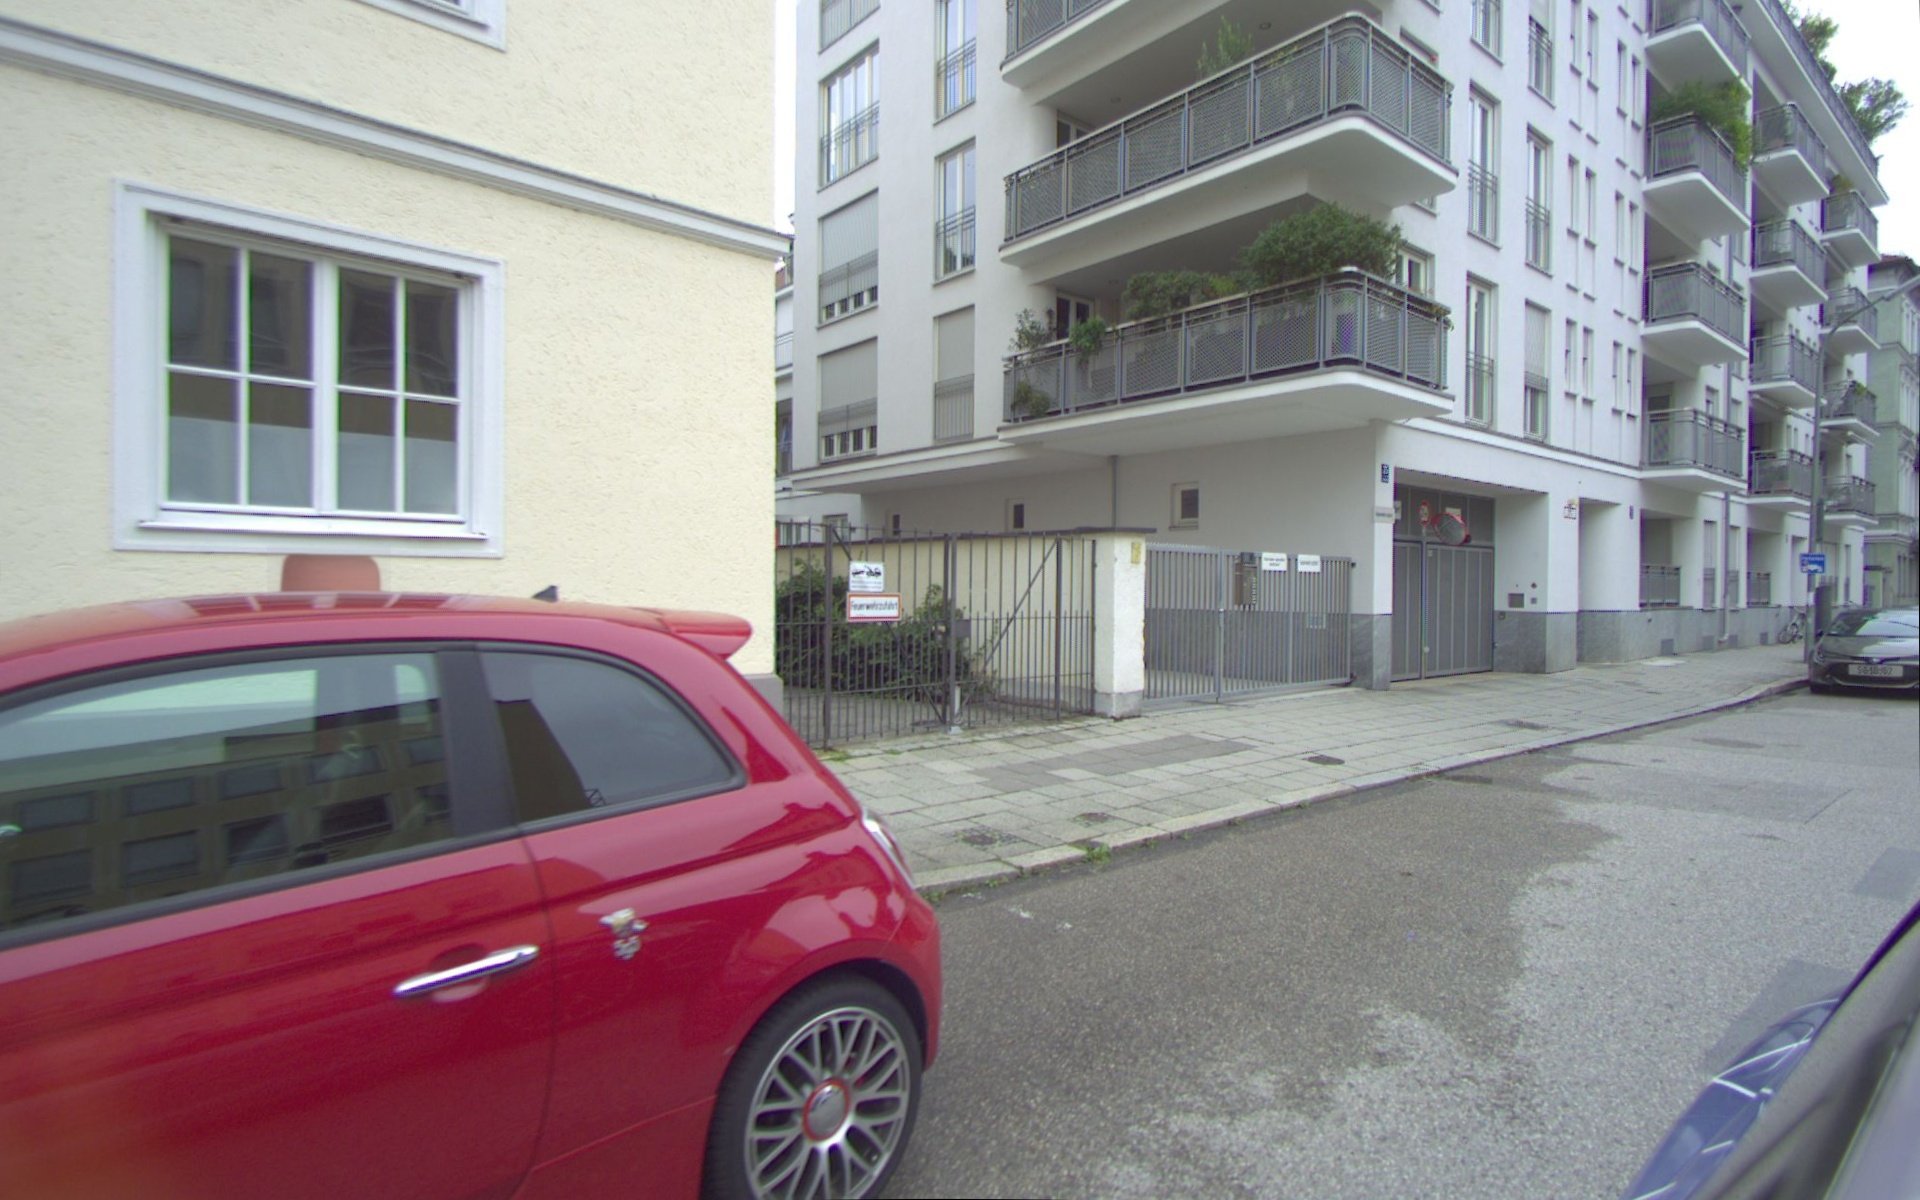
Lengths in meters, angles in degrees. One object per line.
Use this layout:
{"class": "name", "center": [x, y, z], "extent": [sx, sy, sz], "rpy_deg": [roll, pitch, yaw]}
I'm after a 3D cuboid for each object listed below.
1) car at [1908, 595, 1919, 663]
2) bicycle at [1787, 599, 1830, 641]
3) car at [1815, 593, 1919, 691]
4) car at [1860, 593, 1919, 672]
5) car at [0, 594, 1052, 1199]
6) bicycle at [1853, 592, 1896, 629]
{"class": "car", "center": [23.416, 0.630, 23.398], "extent": [4.524, 1.501, 1.793], "rpy_deg": [0, 0, -42]}
{"class": "bicycle", "center": [24.041, 0.555, 28.676], "extent": [1.778, 1.111, 0.570], "rpy_deg": [0, 4, -40]}
{"class": "car", "center": [15.964, 0.641, 17.156], "extent": [4.146, 1.494, 1.773], "rpy_deg": [0, 0, -43]}
{"class": "car", "center": [19.539, 0.616, 20.380], "extent": [3.680, 1.486, 1.620], "rpy_deg": [0, -1, -40]}
{"class": "car", "center": [-1.661, 0.718, 2.163], "extent": [3.691, 1.448, 1.657], "rpy_deg": [0, -1, -42]}
{"class": "bicycle", "center": [30.675, 0.340, 33.946], "extent": [1.938, 1.187, 0.803], "rpy_deg": [0, 0, -40]}
